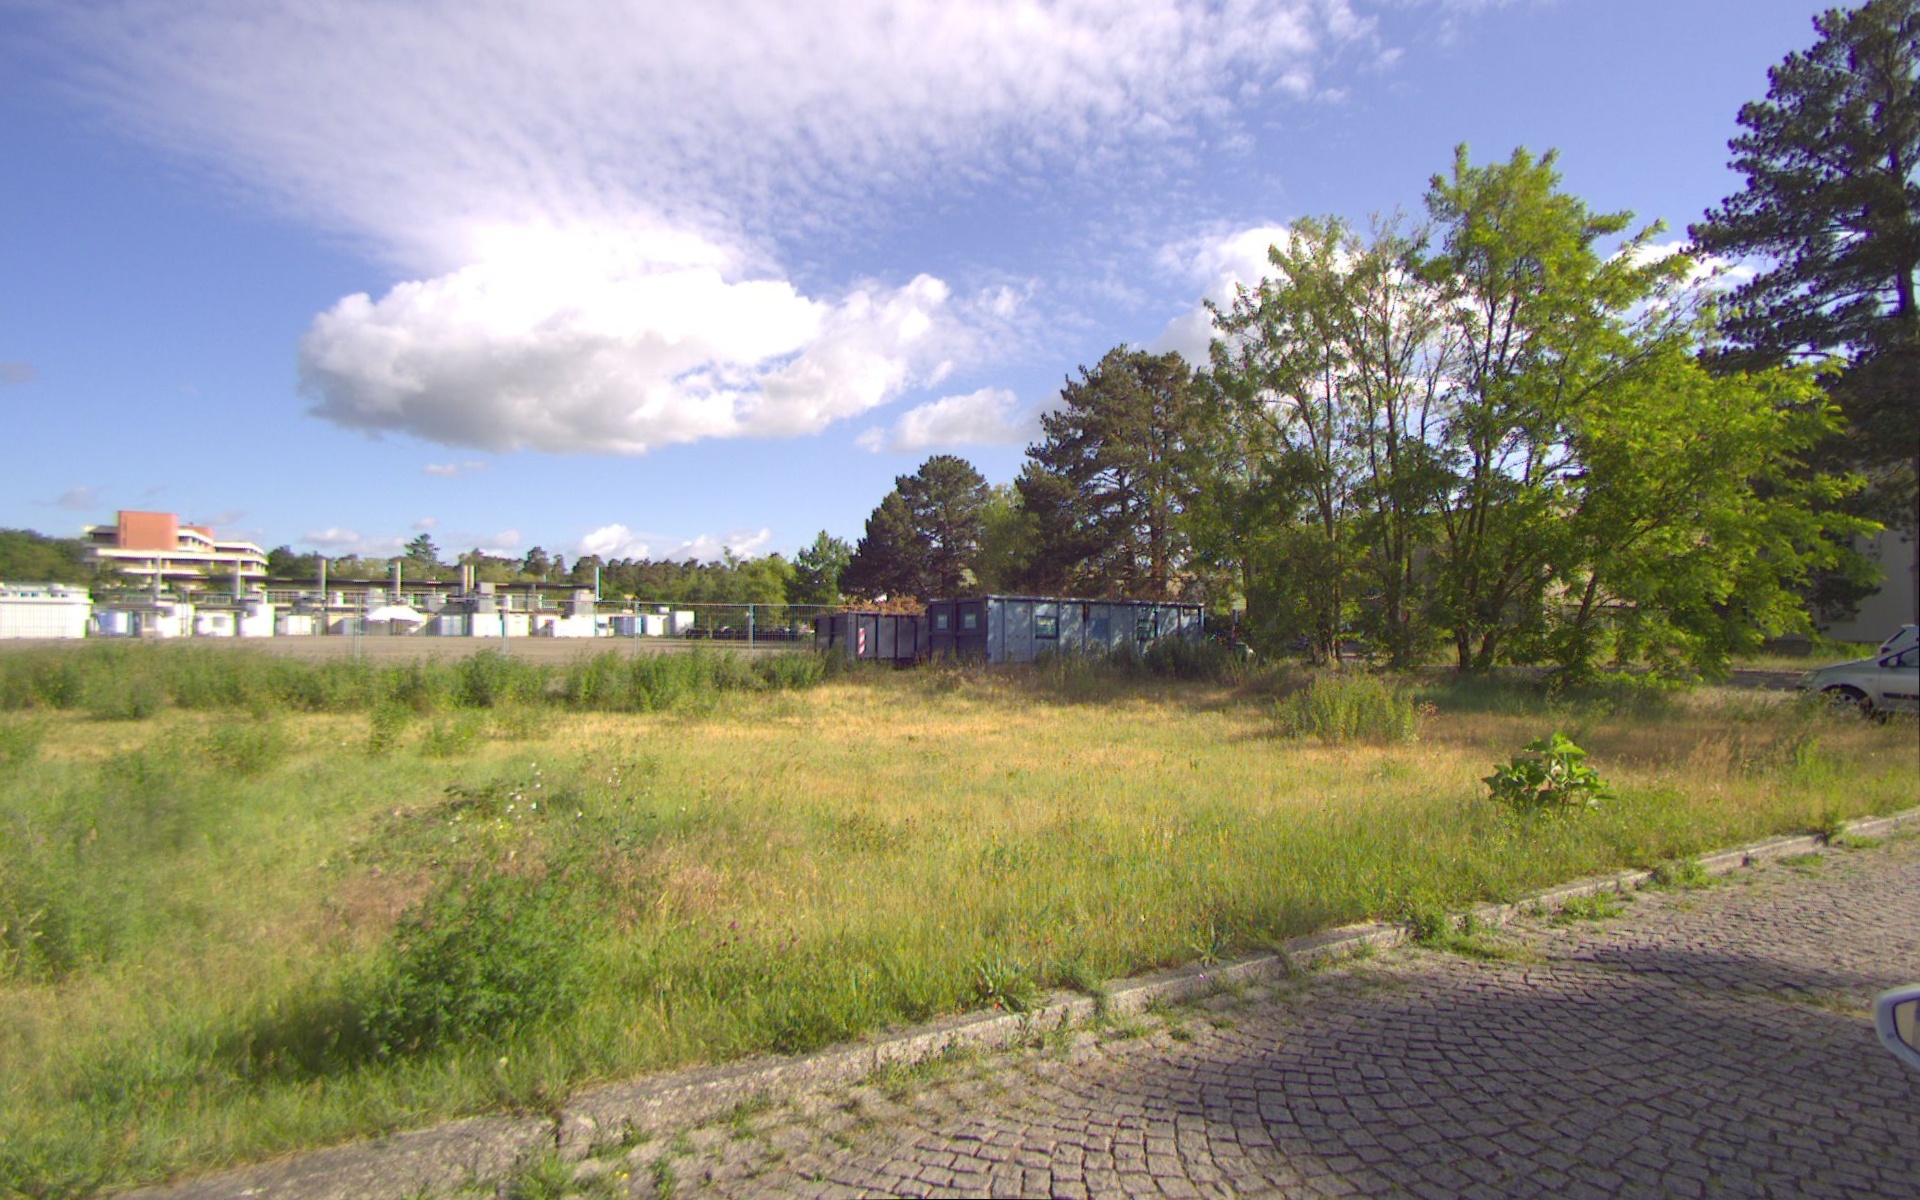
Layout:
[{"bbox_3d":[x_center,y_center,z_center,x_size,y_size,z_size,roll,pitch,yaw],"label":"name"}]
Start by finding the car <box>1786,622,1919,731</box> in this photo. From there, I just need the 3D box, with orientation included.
[{"bbox_3d":[14.653,1.142,14.620,1.628,1.507,3.725,1,1,-32],"label":"car"}]

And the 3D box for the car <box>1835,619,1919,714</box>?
[{"bbox_3d":[16.858,1.126,16.072,1.783,1.500,3.964,1,1,-32],"label":"car"}]

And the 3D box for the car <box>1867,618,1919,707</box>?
[{"bbox_3d":[19.165,1.203,17.942,1.865,1.614,4.057,1,1,-32],"label":"car"}]

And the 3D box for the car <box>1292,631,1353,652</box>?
[{"bbox_3d":[25.122,2.878,69.662,3.952,1.452,1.894,2,-2,-30],"label":"car"}]

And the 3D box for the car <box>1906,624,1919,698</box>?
[{"bbox_3d":[21.206,1.284,19.141,1.810,1.488,4.309,1,1,-32],"label":"car"}]
